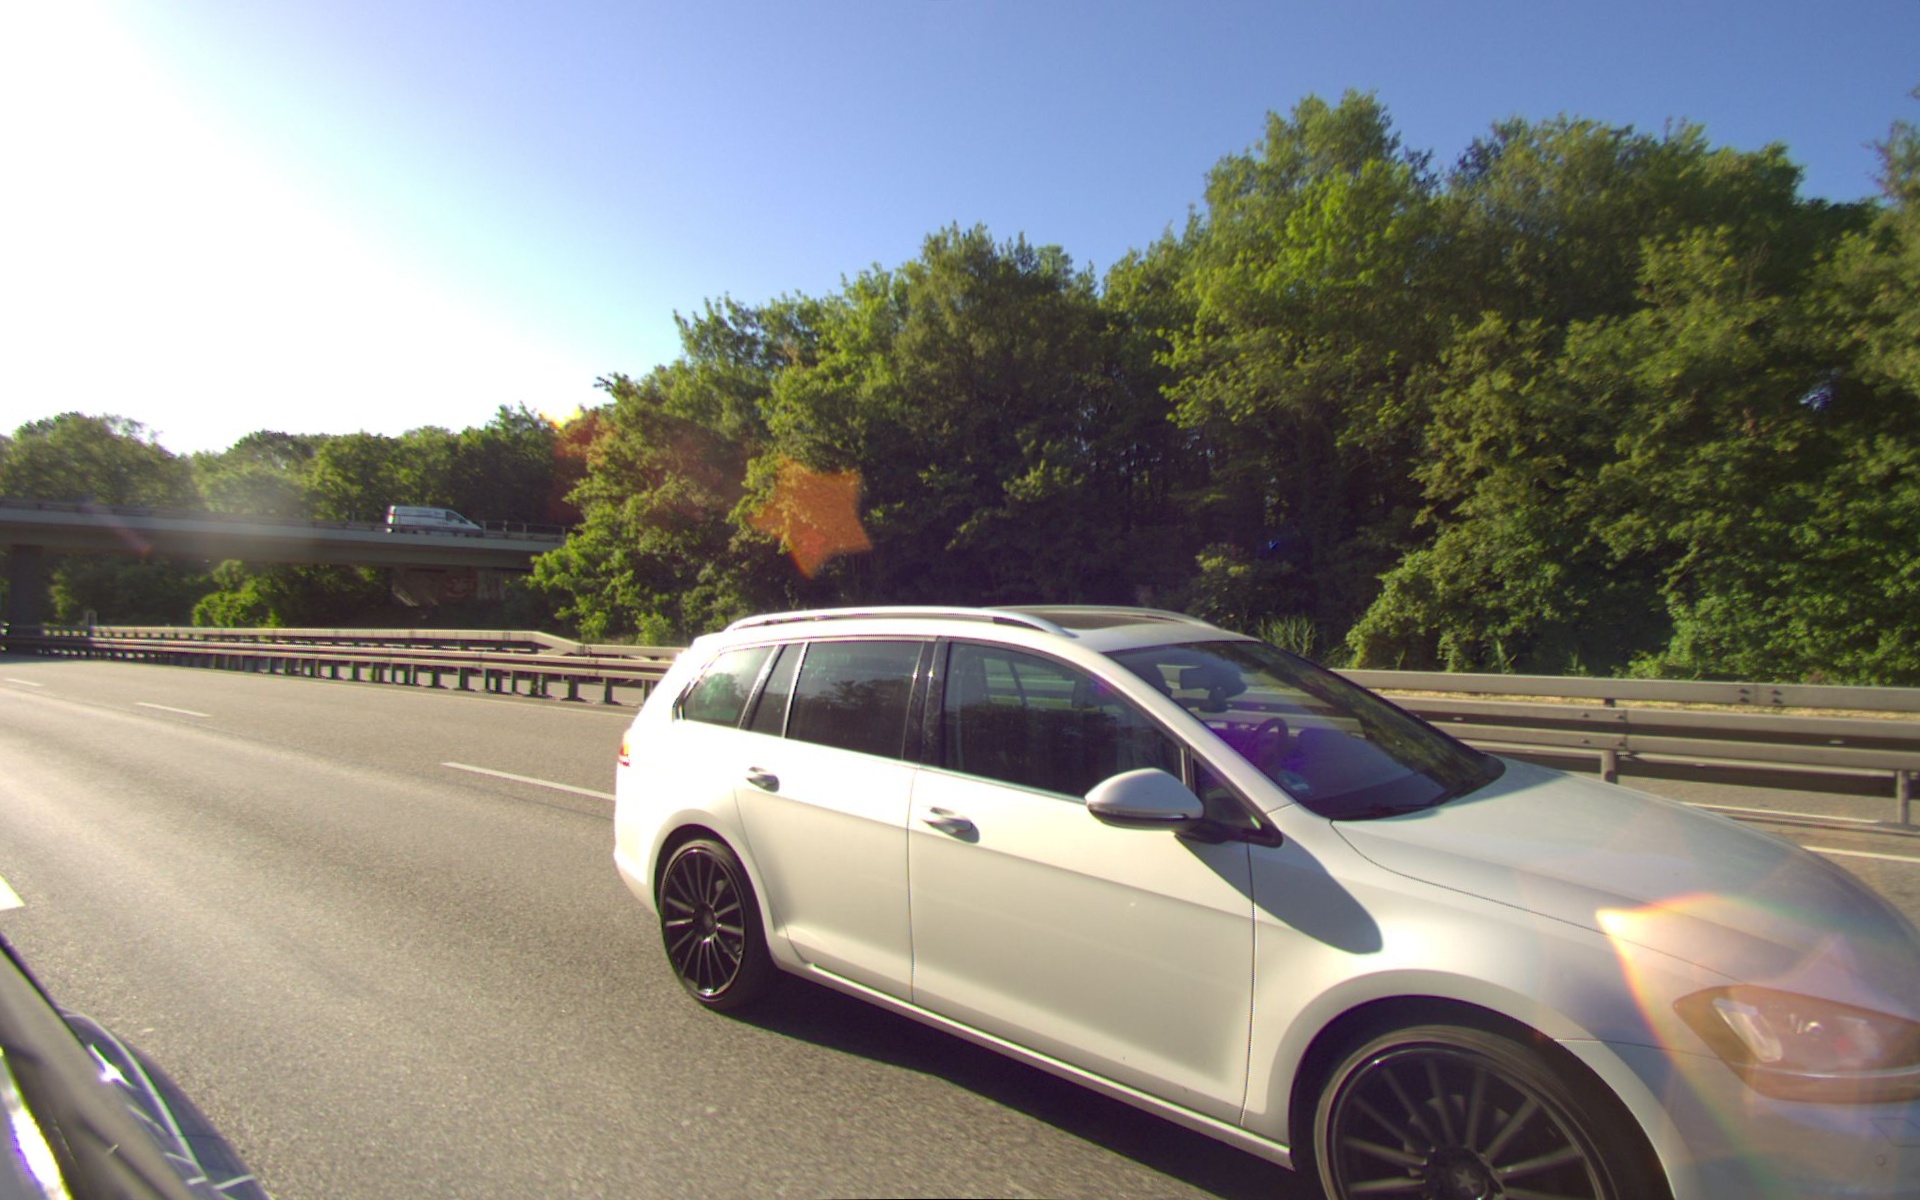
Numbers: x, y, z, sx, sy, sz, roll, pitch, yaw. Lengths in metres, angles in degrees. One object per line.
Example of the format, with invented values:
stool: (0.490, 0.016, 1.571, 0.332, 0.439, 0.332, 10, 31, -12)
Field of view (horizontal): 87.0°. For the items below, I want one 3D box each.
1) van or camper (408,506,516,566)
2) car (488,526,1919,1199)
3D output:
van or camper: (-28.924, -3.654, 58.863, 5.371, 3.205, 2.005, 1, 2, -37)
car: (0.544, 0.676, 3.564, 5.596, 1.519, 1.909, -1, -1, 41)
